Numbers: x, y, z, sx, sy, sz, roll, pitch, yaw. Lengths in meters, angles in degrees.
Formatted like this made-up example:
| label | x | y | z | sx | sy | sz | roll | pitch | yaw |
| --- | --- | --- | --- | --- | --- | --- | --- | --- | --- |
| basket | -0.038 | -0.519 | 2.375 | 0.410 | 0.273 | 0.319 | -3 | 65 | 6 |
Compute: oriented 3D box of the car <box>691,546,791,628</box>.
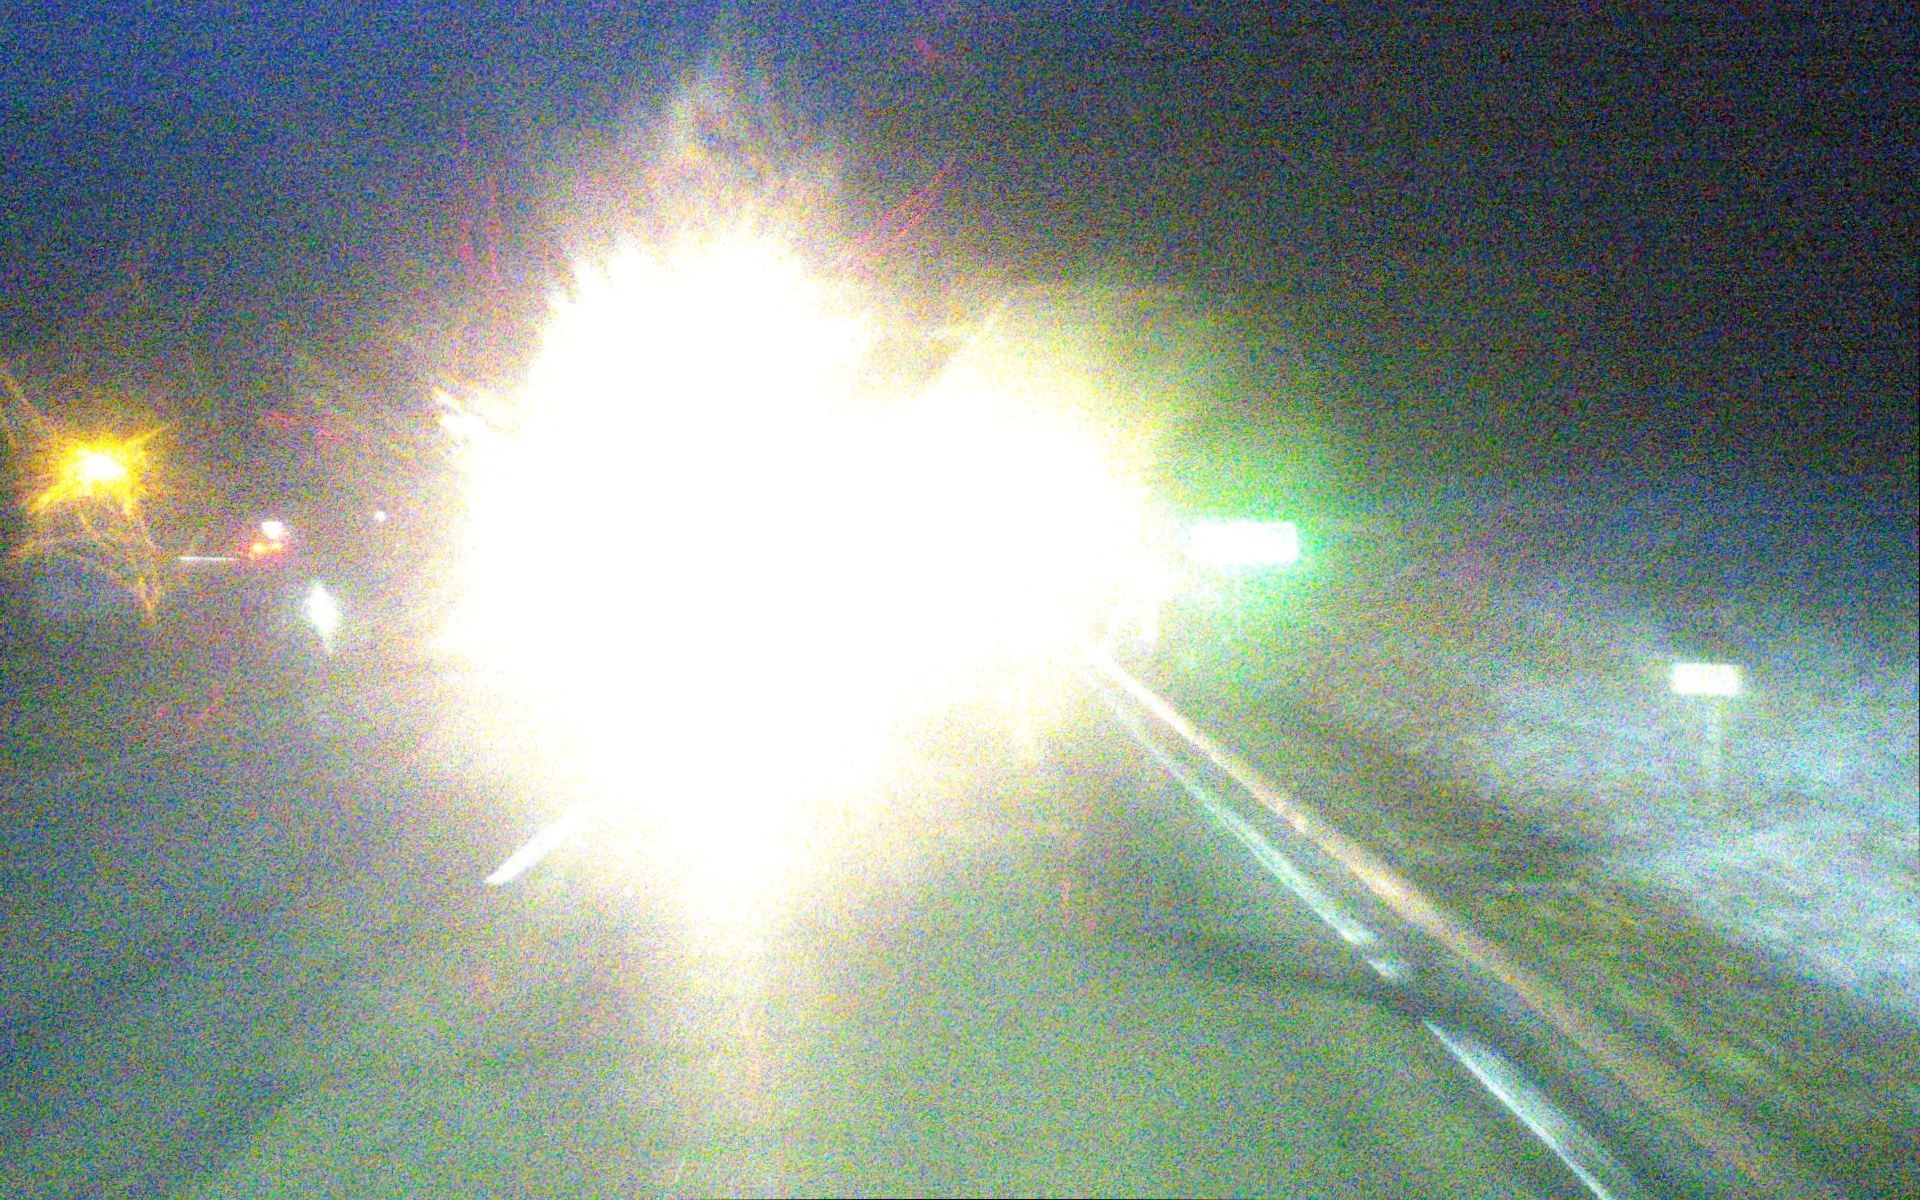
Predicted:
| label | x | y | z | sx | sy | sz | roll | pitch | yaw |
| --- | --- | --- | --- | --- | --- | --- | --- | --- | --- |
| car | -6.761 | -0.398 | 106.839 | 2.752 | 2.261 | 6.262 | -4 | 0 | -2 |
